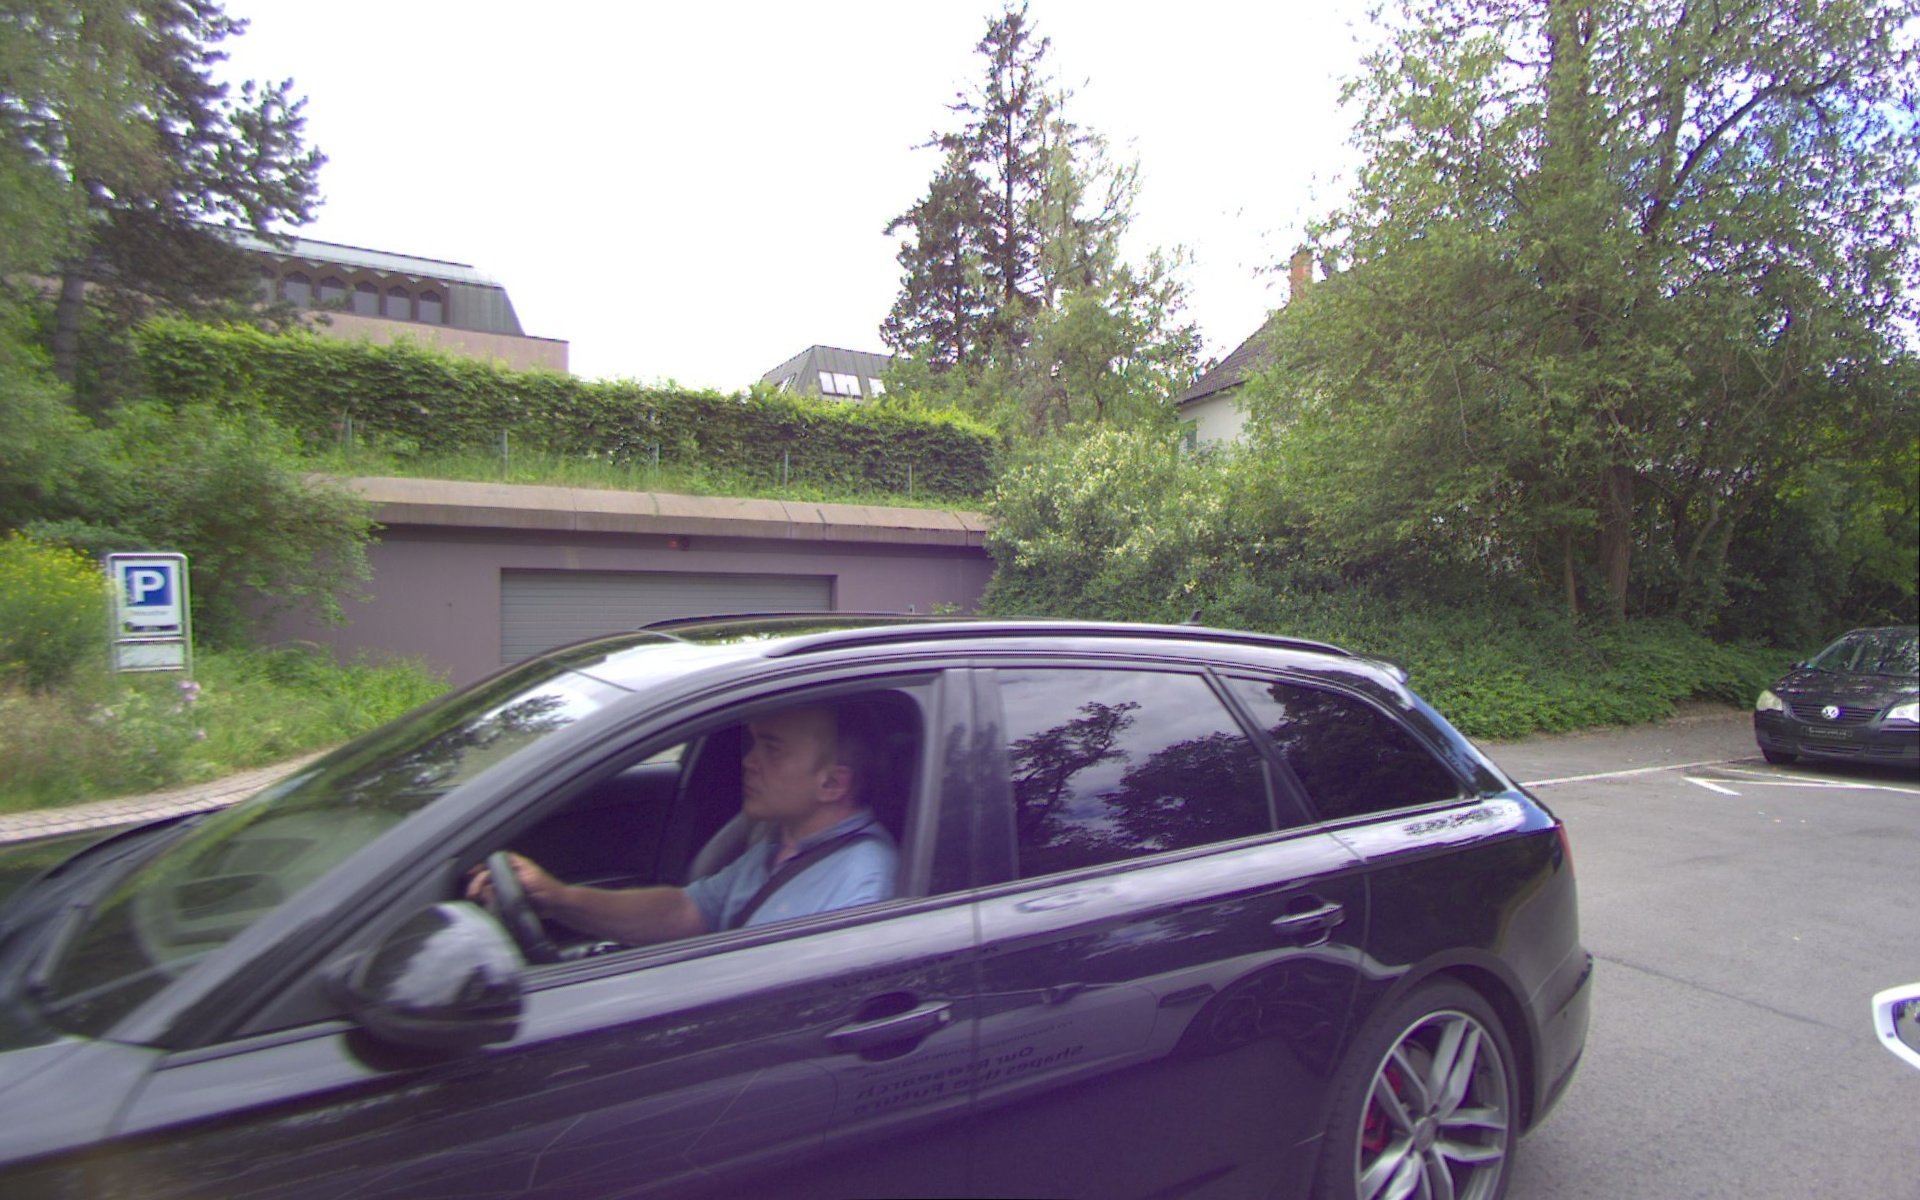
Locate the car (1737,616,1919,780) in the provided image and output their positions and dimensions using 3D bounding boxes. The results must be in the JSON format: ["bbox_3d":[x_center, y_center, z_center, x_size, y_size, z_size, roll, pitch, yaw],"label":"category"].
[{"bbox_3d":[10.127,0.928,10.599,3.919,1.469,1.616,1,-1,-28],"label":"car"}]

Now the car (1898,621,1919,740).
[{"bbox_3d":[14.122,1.027,13.010,4.328,1.472,1.652,1,0,-29],"label":"car"}]

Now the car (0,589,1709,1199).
[{"bbox_3d":[-0.351,0.734,2.299,4.438,1.445,1.771,1,0,-31],"label":"car"}]
